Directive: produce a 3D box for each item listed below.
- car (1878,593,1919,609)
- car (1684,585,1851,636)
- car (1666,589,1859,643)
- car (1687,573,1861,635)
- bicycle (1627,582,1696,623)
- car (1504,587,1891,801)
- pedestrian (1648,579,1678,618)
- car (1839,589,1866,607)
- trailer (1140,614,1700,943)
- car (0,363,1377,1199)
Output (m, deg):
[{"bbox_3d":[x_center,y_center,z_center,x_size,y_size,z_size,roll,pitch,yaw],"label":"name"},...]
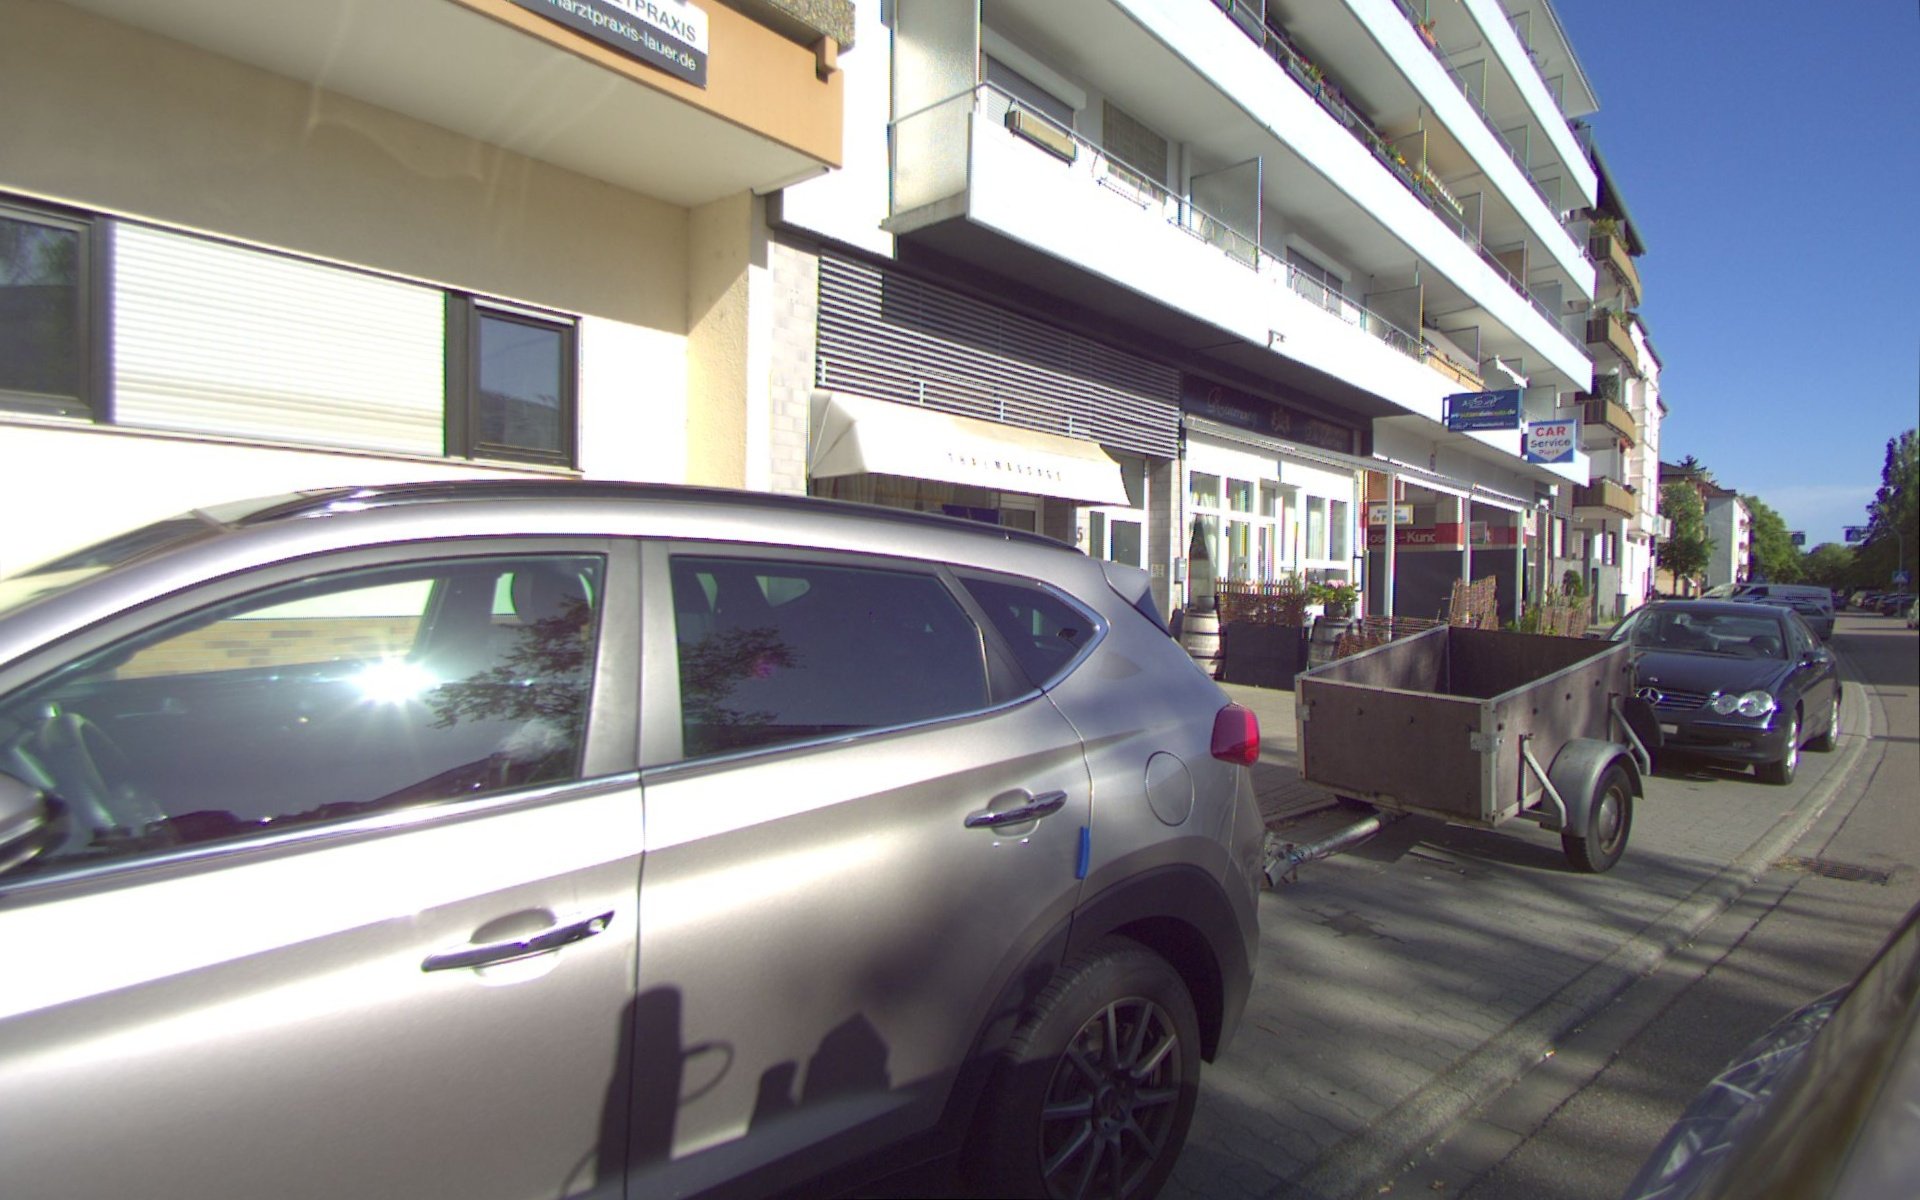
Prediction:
[{"bbox_3d":[71.231,0.064,74.884,4.494,1.182,1.993,0,0,12],"label":"car"},{"bbox_3d":[26.963,0.335,33.875,4.241,1.531,1.759,1,2,-4],"label":"car"},{"bbox_3d":[24.606,0.475,31.117,4.557,1.484,1.692,1,2,-1],"label":"car"},{"bbox_3d":[29.328,0.122,36.581,4.444,1.920,2.051,2,4,0],"label":"car"},{"bbox_3d":[22.778,0.079,32.857,2.214,1.270,0.708,1,0,-22],"label":"bicycle"},{"bbox_3d":[7.207,0.649,9.662,4.917,1.468,1.974,-1,2,-41],"label":"car"},{"bbox_3d":[29.459,-0.082,42.393,0.874,1.613,0.833,-1,2,-44],"label":"pedestrian"},{"bbox_3d":[85.614,-0.224,97.068,1.835,1.522,4.079,1,4,41],"label":"car"},{"bbox_3d":[2.588,0.737,5.564,2.888,1.193,1.608,-1,2,-37],"label":"trailer"},{"bbox_3d":[-1.146,0.543,2.105,4.479,1.673,1.822,-3,3,-39],"label":"car"}]
